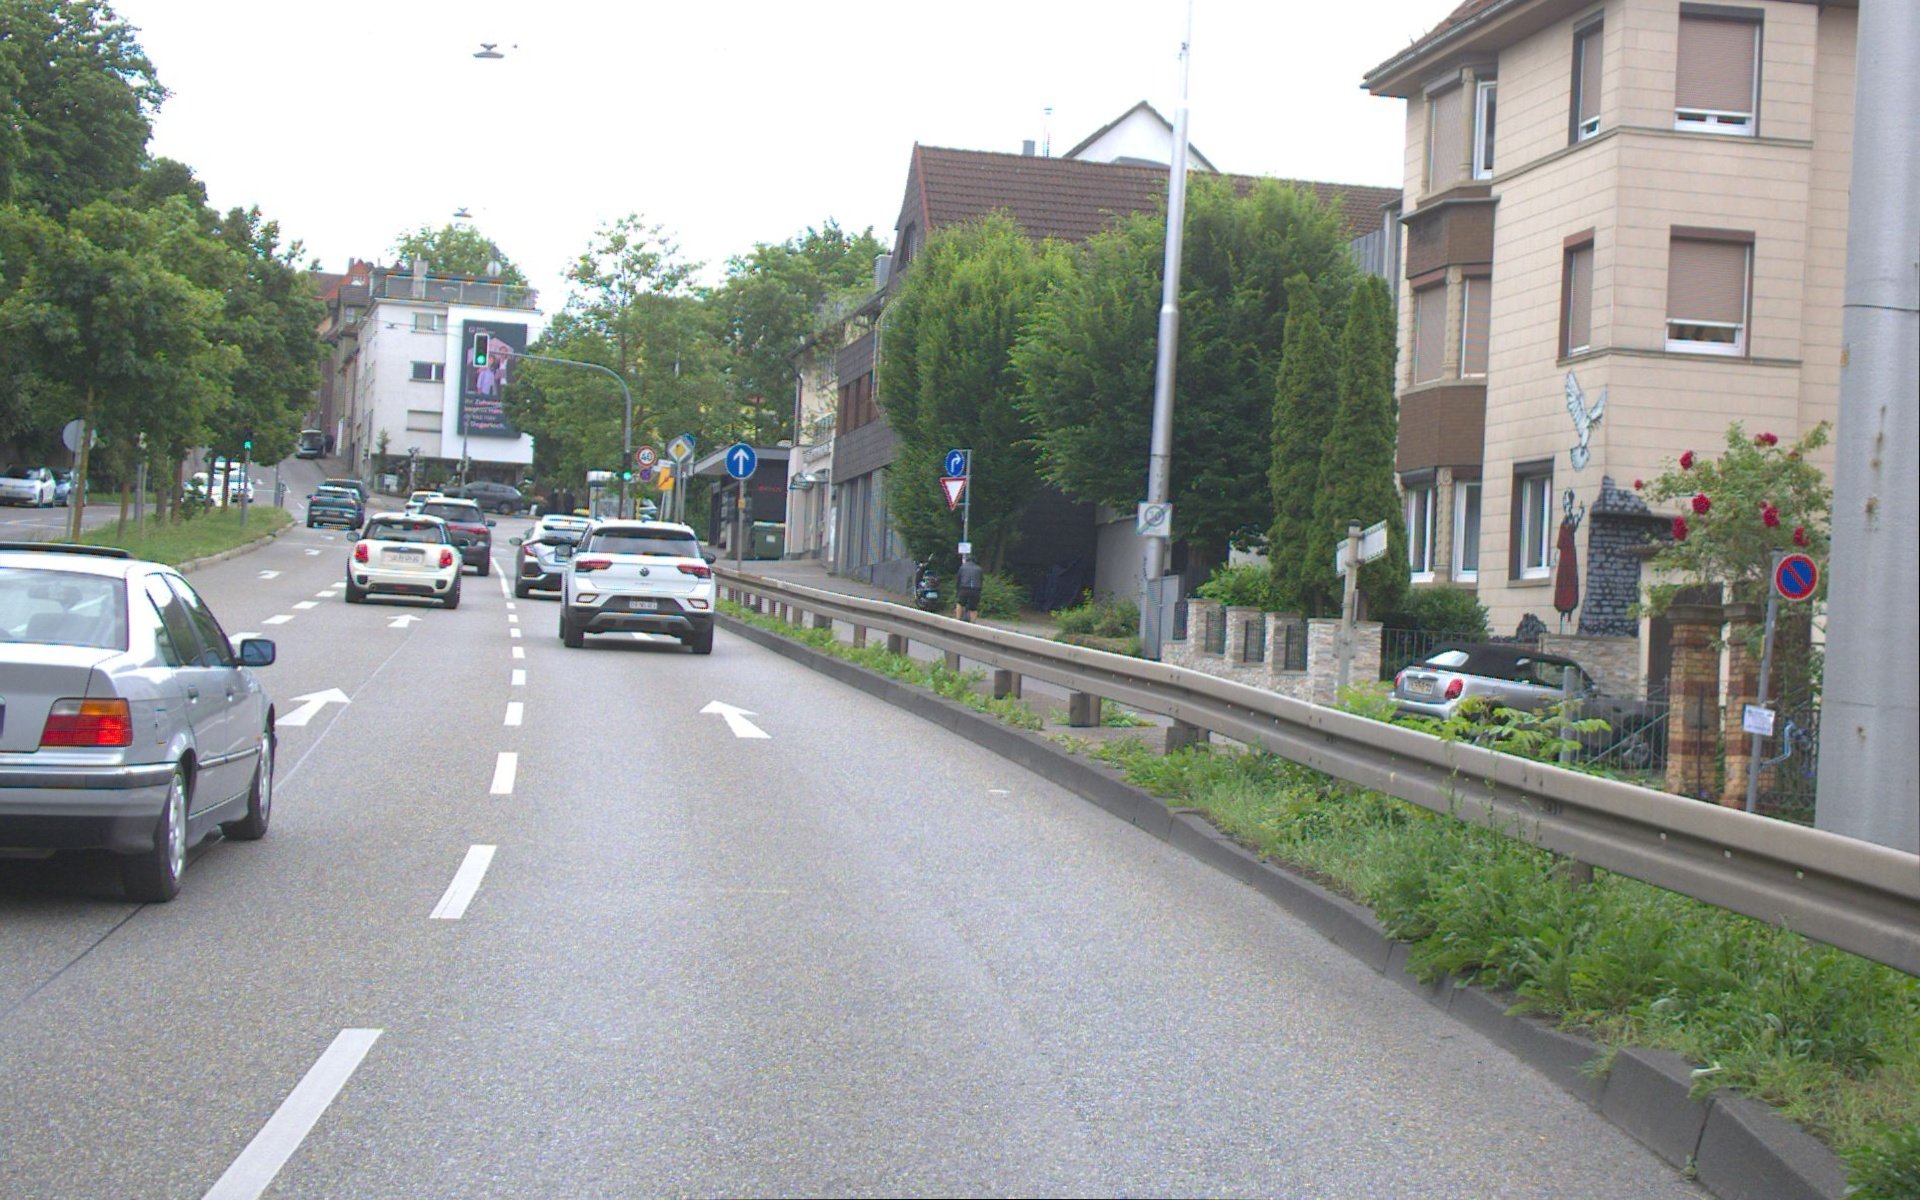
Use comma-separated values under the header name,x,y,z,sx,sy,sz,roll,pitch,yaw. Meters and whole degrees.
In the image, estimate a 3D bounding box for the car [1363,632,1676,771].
name,x,y,z,sx,sy,sz,roll,pitch,yaw
car,7.354,1.329,45.199,3.602,1.430,1.705,5,1,-24

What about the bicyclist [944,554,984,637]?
name,x,y,z,sx,sy,sz,roll,pitch,yaw
bicyclist,0.071,-0.096,64.704,0.566,1.519,0.959,0,2,-10

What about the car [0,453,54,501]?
name,x,y,z,sx,sy,sz,roll,pitch,yaw
car,-35.116,-4.611,128.736,1.859,1.588,4.281,5,2,-10

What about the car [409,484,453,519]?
name,x,y,z,sx,sy,sz,roll,pitch,yaw
car,-21.626,-4.003,140.461,1.722,1.371,3.457,1,1,-9

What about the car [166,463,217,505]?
name,x,y,z,sx,sy,sz,roll,pitch,yaw
car,-33.776,-5.109,151.169,1.859,1.664,4.281,5,2,-10

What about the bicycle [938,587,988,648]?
name,x,y,z,sx,sy,sz,roll,pitch,yaw
bicycle,0.050,0.315,64.761,0.566,1.059,2.006,0,2,-10

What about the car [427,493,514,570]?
name,x,y,z,sx,sy,sz,roll,pitch,yaw
car,-10.852,-1.513,76.100,1.722,1.634,3.457,1,1,-11

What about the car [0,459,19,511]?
name,x,y,z,sx,sy,sz,roll,pitch,yaw
car,-33.215,-3.983,116.921,1.859,1.664,4.281,5,2,-10

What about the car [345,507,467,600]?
name,x,y,z,sx,sy,sz,roll,pitch,yaw
car,-8.702,-0.738,53.806,1.722,1.371,3.458,1,1,-12

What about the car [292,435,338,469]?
name,x,y,z,sx,sy,sz,roll,pitch,yaw
car,-42.002,-9.628,224.115,2.510,2.006,5.183,5,2,-8

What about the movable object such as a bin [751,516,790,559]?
name,x,y,z,sx,sy,sz,roll,pitch,yaw
movable object such as a bin,-6.687,-2.212,121.503,1.195,1.403,0.711,5,1,-9

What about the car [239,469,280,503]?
name,x,y,z,sx,sy,sz,roll,pitch,yaw
car,-35.899,-5.867,176.205,1.859,1.535,4.281,5,2,-10

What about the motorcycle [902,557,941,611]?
name,x,y,z,sx,sy,sz,roll,pitch,yaw
motorcycle,-0.882,-0.369,78.916,0.608,1.158,2.041,2,2,-8

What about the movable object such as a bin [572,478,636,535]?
name,x,y,z,sx,sy,sz,roll,pitch,yaw
movable object such as a bin,-12.819,-3.372,123.835,1.891,1.863,1.529,5,2,-17

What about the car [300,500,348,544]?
name,x,y,z,sx,sy,sz,roll,pitch,yaw
car,-23.579,-2.899,127.415,1.722,1.577,3.457,1,1,-11

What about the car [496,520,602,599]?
name,x,y,z,sx,sy,sz,roll,pitch,yaw
car,-7.456,-0.749,62.130,1.722,1.371,3.457,1,1,-10

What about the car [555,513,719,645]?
name,x,y,z,sx,sy,sz,roll,pitch,yaw
car,-3.965,-0.281,41.841,1.796,1.513,3.457,1,1,-8

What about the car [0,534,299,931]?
name,x,y,z,sx,sy,sz,roll,pitch,yaw
car,-3.931,0.441,14.832,1.634,1.378,4.621,1,2,-5
